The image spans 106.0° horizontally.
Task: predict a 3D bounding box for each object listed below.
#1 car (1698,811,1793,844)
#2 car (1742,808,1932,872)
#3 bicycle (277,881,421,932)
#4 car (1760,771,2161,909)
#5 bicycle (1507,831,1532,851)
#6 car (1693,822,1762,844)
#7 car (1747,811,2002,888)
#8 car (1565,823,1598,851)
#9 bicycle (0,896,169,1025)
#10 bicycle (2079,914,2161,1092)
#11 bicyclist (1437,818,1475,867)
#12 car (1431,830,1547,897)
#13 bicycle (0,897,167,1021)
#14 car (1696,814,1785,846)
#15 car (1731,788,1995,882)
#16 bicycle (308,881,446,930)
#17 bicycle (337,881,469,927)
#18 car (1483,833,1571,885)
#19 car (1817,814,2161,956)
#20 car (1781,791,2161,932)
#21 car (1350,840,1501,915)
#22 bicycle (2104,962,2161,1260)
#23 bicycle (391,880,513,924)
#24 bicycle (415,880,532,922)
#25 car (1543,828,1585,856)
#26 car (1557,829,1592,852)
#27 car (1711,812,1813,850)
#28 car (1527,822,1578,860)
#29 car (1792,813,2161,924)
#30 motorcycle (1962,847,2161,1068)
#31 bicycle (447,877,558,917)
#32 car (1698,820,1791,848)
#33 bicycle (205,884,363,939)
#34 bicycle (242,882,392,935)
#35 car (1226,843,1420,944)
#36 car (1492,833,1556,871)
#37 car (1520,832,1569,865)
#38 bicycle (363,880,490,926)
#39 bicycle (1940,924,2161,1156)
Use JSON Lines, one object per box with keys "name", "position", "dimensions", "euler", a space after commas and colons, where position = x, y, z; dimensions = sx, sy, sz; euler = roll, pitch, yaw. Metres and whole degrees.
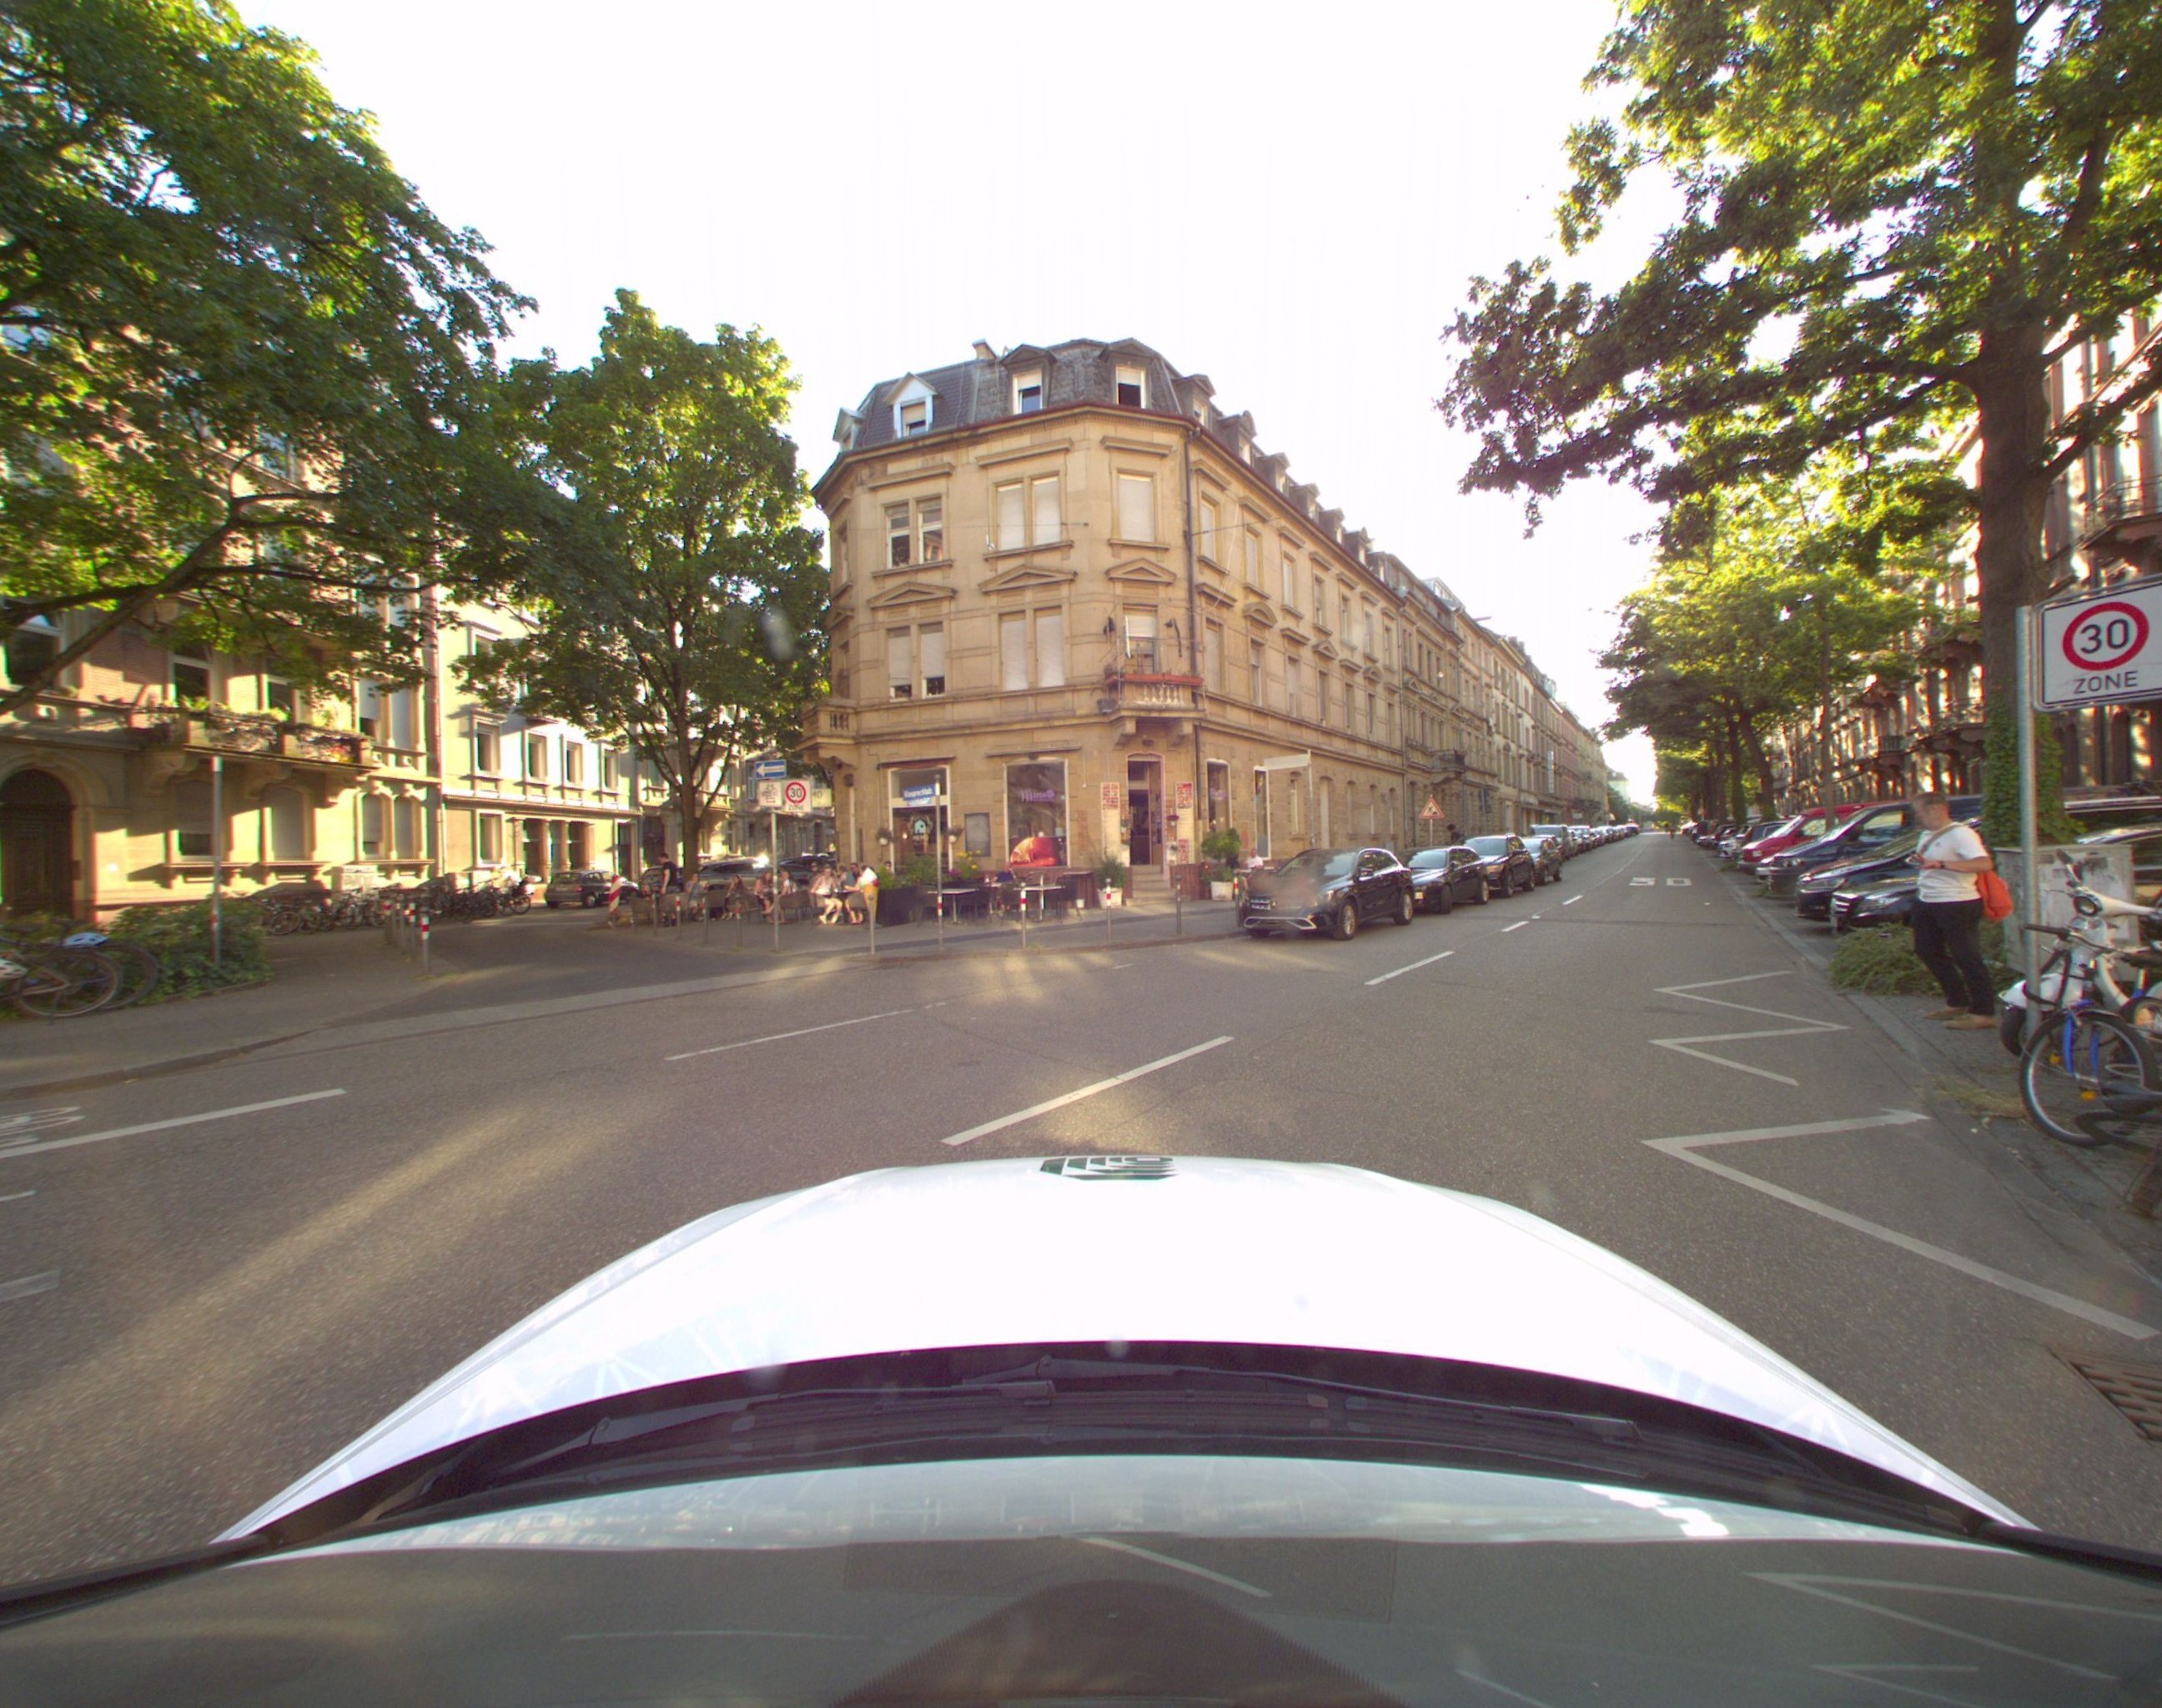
{"name": "car", "position": [46.787, -1.830, 57.502], "dimensions": [5.007, 1.925, 1.847], "euler": [-4, -1, 36]}
{"name": "car", "position": [23.358, -0.397, 25.409], "dimensions": [4.146, 1.628, 1.849], "euler": [-4, -2, 40]}
{"name": "bicycle", "position": [-19.329, 1.381, 21.540], "dimensions": [3.115, 1.180, 0.752], "euler": [-2, 0, 1]}
{"name": "car", "position": [16.034, -0.181, 15.198], "dimensions": [4.972, 2.215, 2.005], "euler": [-2, 0, 36]}
{"name": "bicycle", "position": [31.811, -0.948, 59.046], "dimensions": [1.031, 1.318, 4.026], "euler": [-1, 1, 35]}
{"name": "car", "position": [47.809, -1.562, 60.337], "dimensions": [3.812, 1.294, 1.729], "euler": [-4, -1, 33]}
{"name": "car", "position": [18.475, -0.070, 19.284], "dimensions": [4.014, 1.510, 1.891], "euler": [-4, -1, 36]}
{"name": "car", "position": [36.059, -1.257, 58.613], "dimensions": [1.741, 1.842, 4.559], "euler": [-3, 0, 35]}
{"name": "bicycle", "position": [-11.109, 1.105, 7.899], "dimensions": [0.541, 1.196, 2.977], "euler": [-2, 0, 40]}
{"name": "bicycle", "position": [6.551, 0.755, 4.057], "dimensions": [1.911, 0.927, 0.357], "euler": [-5, -3, 36]}
{"name": "bicyclist", "position": [14.193, -0.428, 30.781], "dimensions": [0.986, 1.790, 1.215], "euler": [-2, -2, 39]}
{"name": "car", "position": [11.345, 0.210, 22.470], "dimensions": [1.741, 1.600, 4.579], "euler": [-3, 0, 41]}
{"name": "bicycle", "position": [-11.557, 1.131, 8.278], "dimensions": [0.541, 1.196, 2.977], "euler": [-2, 0, 40]}
{"name": "car", "position": [44.243, -1.598, 54.712], "dimensions": [4.188, 1.795, 1.843], "euler": [-4, -1, 17]}
{"name": "car", "position": [20.238, -0.418, 21.417], "dimensions": [4.629, 2.033, 1.891], "euler": [-4, -1, 33]}
{"name": "bicycle", "position": [-19.282, 1.395, 22.330], "dimensions": [3.115, 1.180, 0.752], "euler": [-2, 0, 1]}
{"name": "bicycle", "position": [-19.256, 1.413, 23.162], "dimensions": [3.115, 1.180, 0.752], "euler": [-2, 0, 1]}
{"name": "car", "position": [14.643, 0.134, 26.636], "dimensions": [1.741, 1.501, 4.086], "euler": [-3, 0, 39]}
{"name": "car", "position": [11.402, 0.297, 8.944], "dimensions": [4.739, 1.413, 1.863], "euler": [-4, -1, 39]}
{"name": "car", "position": [12.708, 0.123, 11.089], "dimensions": [4.641, 1.679, 1.863], "euler": [-4, -1, 38]}
{"name": "car", "position": [7.985, 0.478, 18.620], "dimensions": [1.742, 1.451, 4.579], "euler": [-3, -1, 42]}
{"name": "bicycle", "position": [4.505, 0.806, 2.381], "dimensions": [1.916, 0.988, 0.498], "euler": [-4, -2, 14]}
{"name": "bicycle", "position": [-19.147, 1.447, 24.816], "dimensions": [3.115, 1.180, 0.752], "euler": [-2, 0, 1]}
{"name": "bicycle", "position": [-19.120, 1.466, 25.662], "dimensions": [3.115, 1.180, 0.752], "euler": [-2, 0, 1]}
{"name": "car", "position": [29.293, -0.734, 49.364], "dimensions": [1.736, 1.608, 4.412], "euler": [0, 2, 36]}
{"name": "car", "position": [33.142, -0.919, 54.684], "dimensions": [1.741, 1.467, 4.026], "euler": [0, 2, 35]}
{"name": "car", "position": [38.168, -1.253, 45.793], "dimensions": [4.179, 1.776, 1.847], "euler": [-4, -1, 35]}
{"name": "car", "position": [25.824, -0.760, 44.506], "dimensions": [1.814, 1.943, 5.294], "euler": [0, 2, 36]}
{"name": "car", "position": [14.170, 0.228, 13.019], "dimensions": [4.066, 1.534, 1.736], "euler": [-2, 0, 37]}
{"name": "motorcycle", "position": [6.625, 0.577, 4.730], "dimensions": [1.879, 1.234, 0.690], "euler": [-5, -2, 37]}
{"name": "bicycle", "position": [-19.025, 1.401, 26.804], "dimensions": [3.115, 1.180, 0.752], "euler": [-2, 0, 1]}
{"name": "car", "position": [40.811, -1.216, 50.202], "dimensions": [4.180, 1.403, 1.847], "euler": [-4, -1, 32]}
{"name": "bicycle", "position": [-19.400, 1.387, 19.845], "dimensions": [3.115, 1.180, 0.752], "euler": [-2, 0, 1]}
{"name": "bicycle", "position": [-19.385, 1.371, 20.692], "dimensions": [3.115, 1.180, 0.752], "euler": [-2, 0, 1]}
{"name": "car", "position": [4.456, 0.618, 14.604], "dimensions": [1.741, 1.488, 4.165], "euler": [-3, -1, 40]}
{"name": "car", "position": [19.776, -0.131, 36.300], "dimensions": [1.741, 1.501, 4.086], "euler": [-3, 0, 39]}
{"name": "car", "position": [22.710, -0.285, 39.845], "dimensions": [1.577, 1.475, 3.723], "euler": [0, 2, 38]}
{"name": "bicycle", "position": [-19.235, 1.430, 23.973], "dimensions": [3.115, 1.180, 0.752], "euler": [-2, 0, 1]}
{"name": "bicycle", "position": [5.022, 0.884, 4.160], "dimensions": [1.415, 0.927, 0.351], "euler": [-3, -2, -24]}
